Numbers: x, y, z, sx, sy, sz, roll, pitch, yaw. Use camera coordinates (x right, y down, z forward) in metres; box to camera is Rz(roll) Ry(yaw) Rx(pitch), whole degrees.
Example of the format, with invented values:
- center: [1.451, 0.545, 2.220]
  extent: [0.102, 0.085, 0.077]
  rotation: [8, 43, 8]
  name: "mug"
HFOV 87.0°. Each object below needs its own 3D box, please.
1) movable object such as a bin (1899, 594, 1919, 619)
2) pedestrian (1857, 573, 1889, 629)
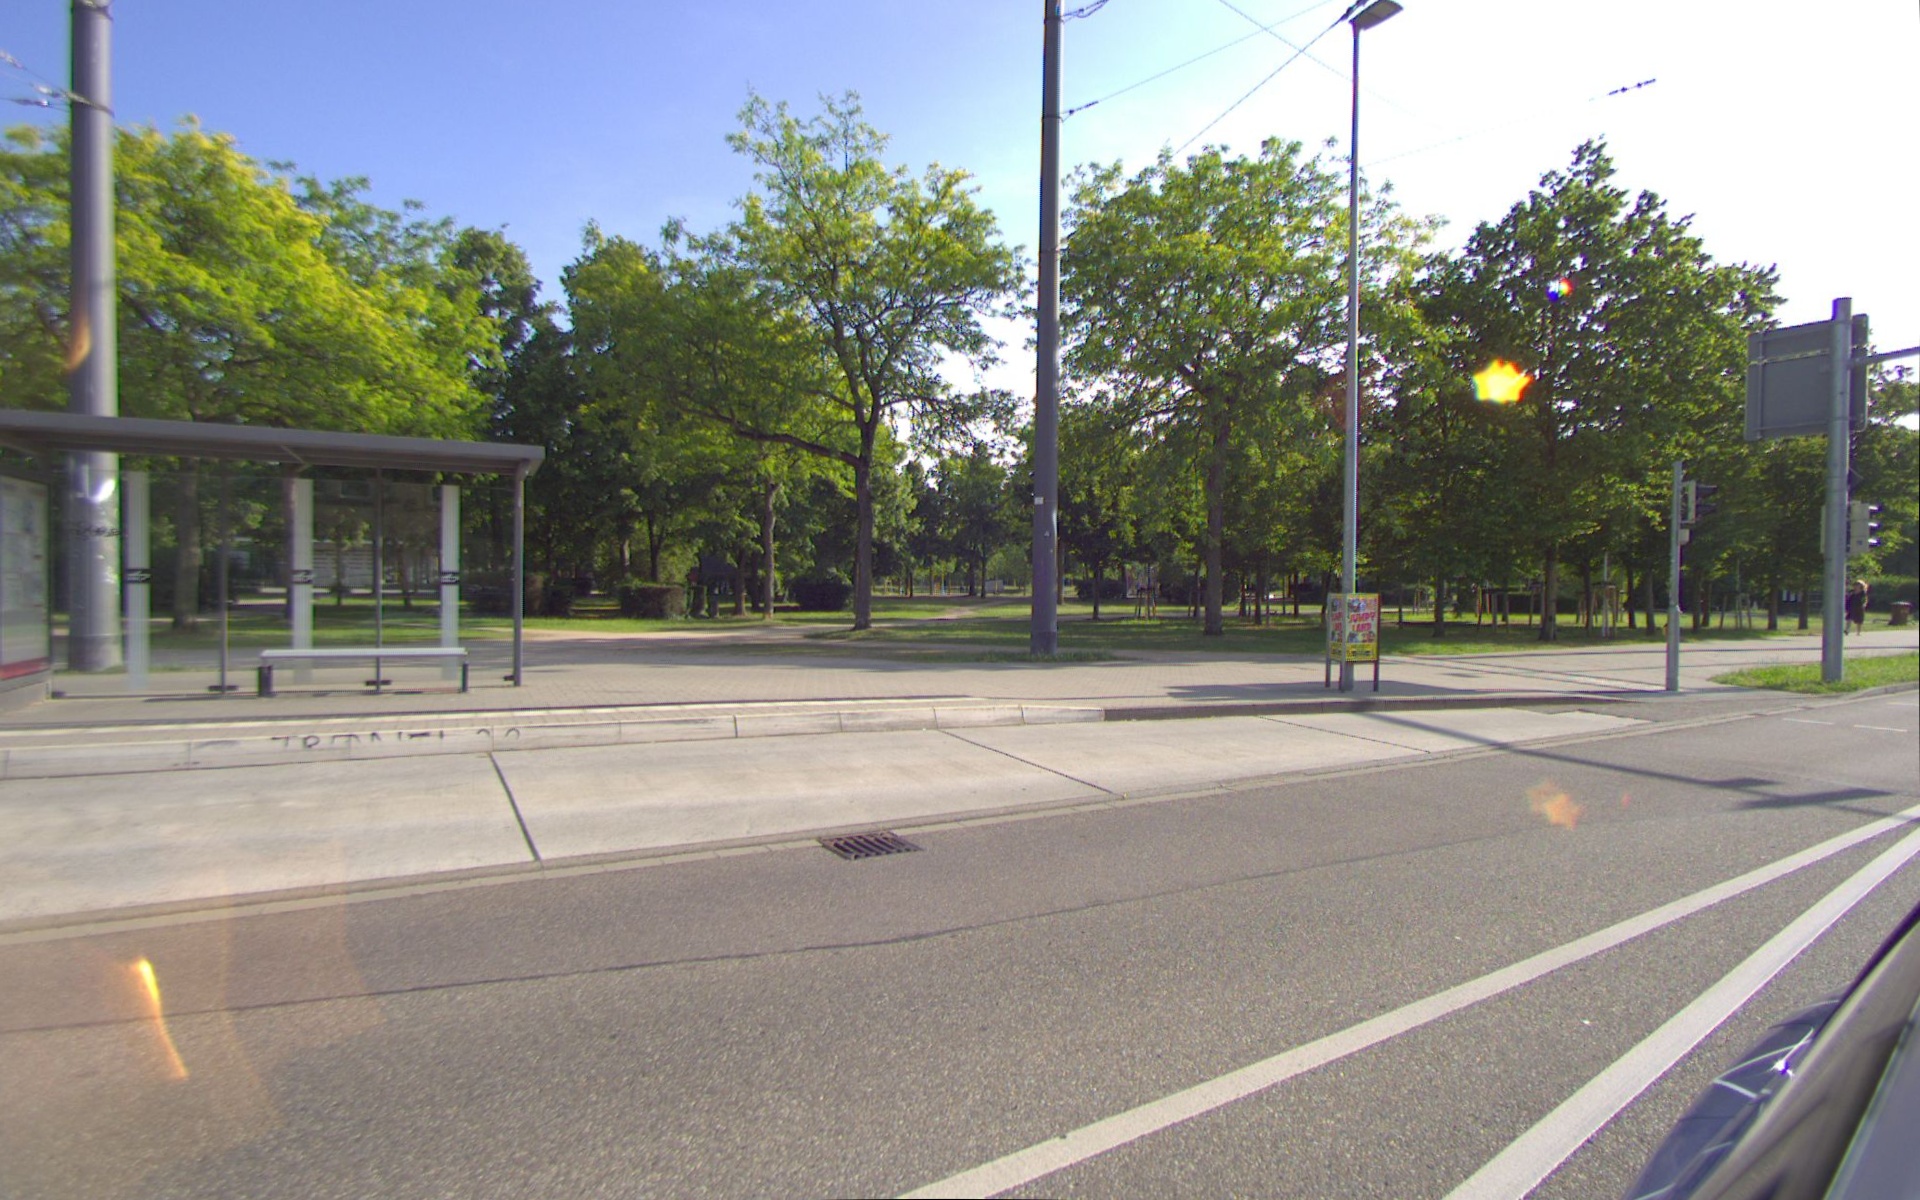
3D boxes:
- center: [36.189, 0.254, 38.454]
  extent: [0.515, 0.915, 0.503]
  rotation: [0, 1, 6]
  name: "movable object such as a bin"
- center: [28.054, 0.019, 31.099]
  extent: [0.649, 1.722, 0.559]
  rotation: [0, 1, -34]
  name: "pedestrian"
